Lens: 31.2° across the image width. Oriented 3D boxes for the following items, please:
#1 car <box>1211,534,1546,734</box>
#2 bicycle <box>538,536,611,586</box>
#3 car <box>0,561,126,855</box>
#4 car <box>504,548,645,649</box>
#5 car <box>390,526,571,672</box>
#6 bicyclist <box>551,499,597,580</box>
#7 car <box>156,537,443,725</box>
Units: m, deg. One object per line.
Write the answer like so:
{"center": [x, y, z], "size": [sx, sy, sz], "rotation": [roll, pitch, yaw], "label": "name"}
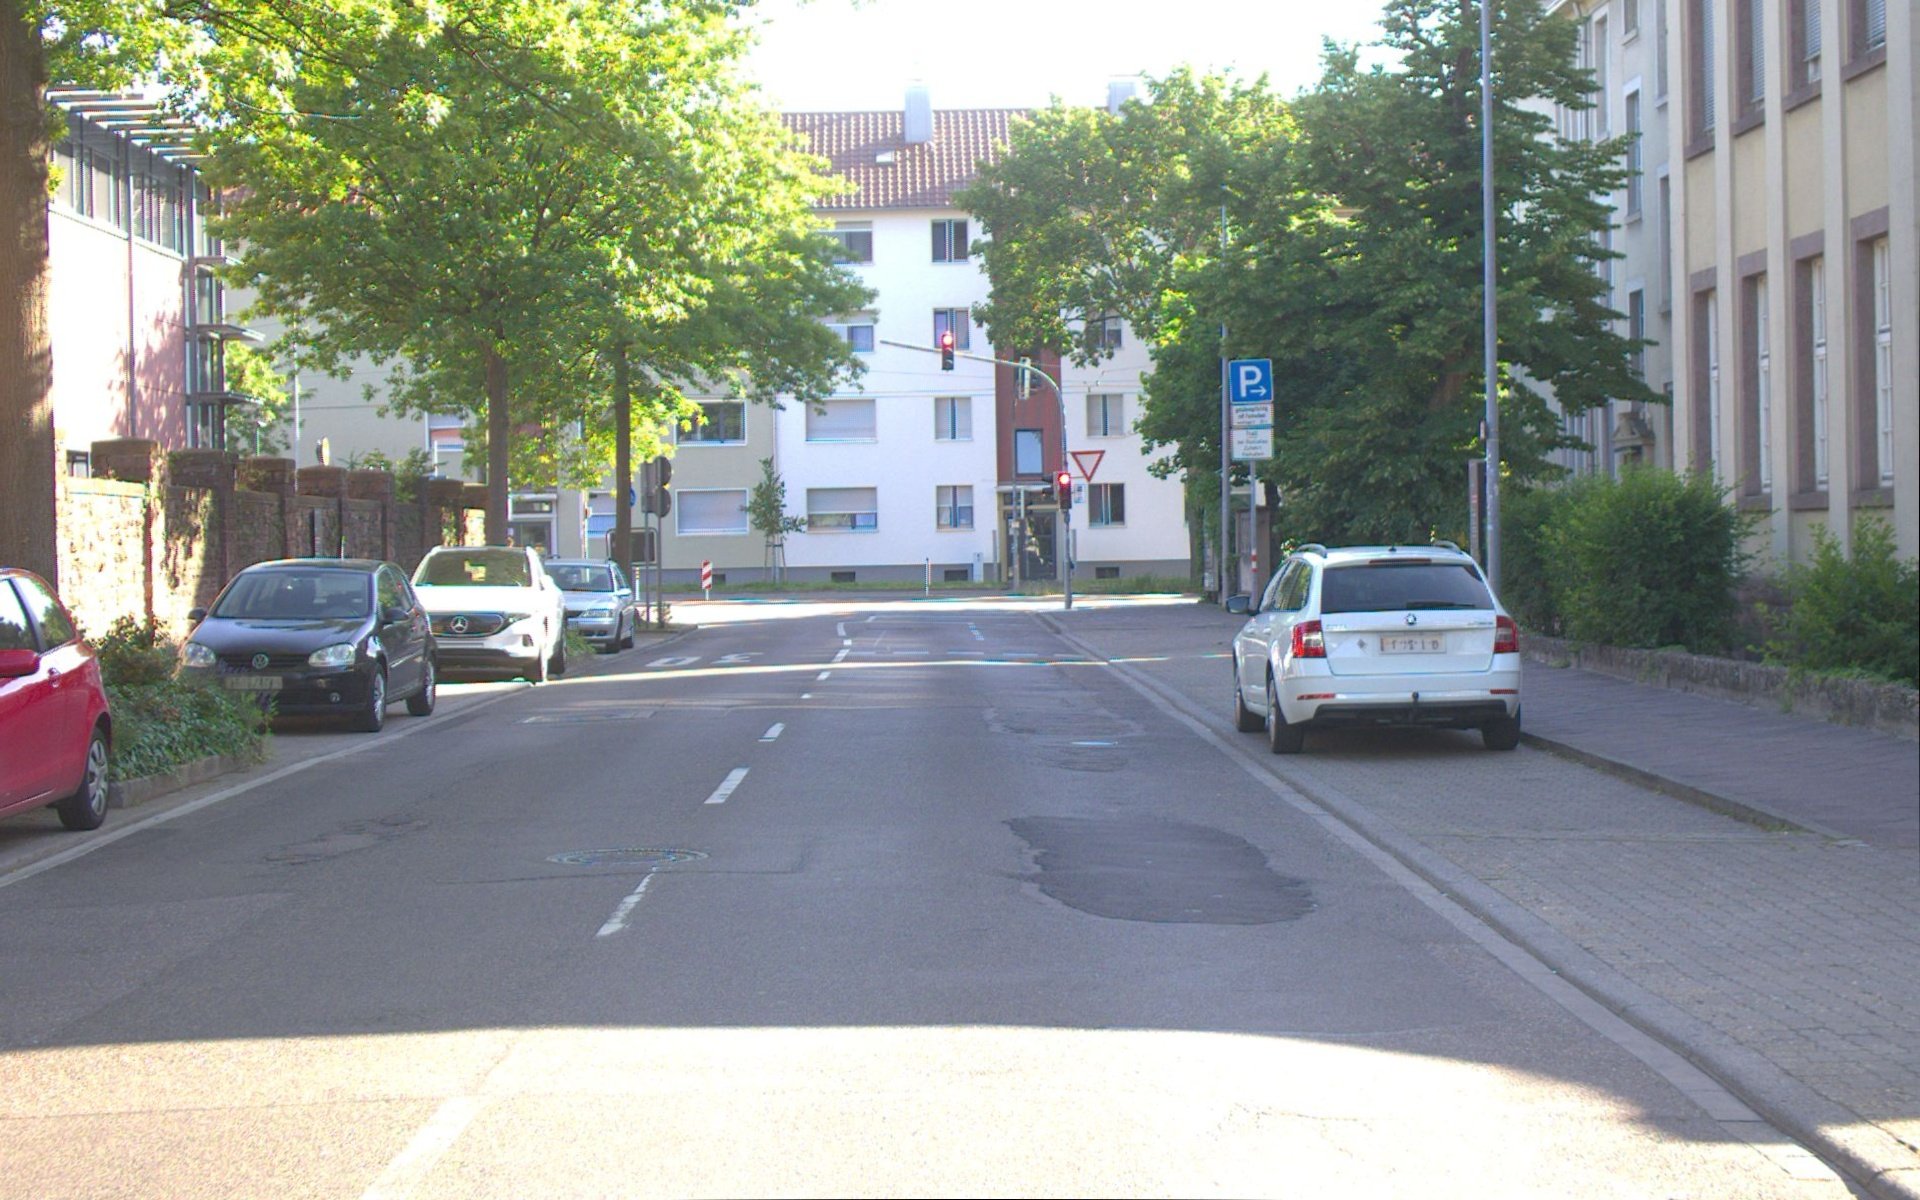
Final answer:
{"center": [3.001, 0.194, 25.525], "size": [1.832, 1.318, 4.496], "rotation": [-1, 1, -1], "label": "car"}
{"center": [-8.382, -0.846, 74.780], "size": [1.684, 1.076, 0.351], "rotation": [0, 1, -42], "label": "bicycle"}
{"center": [-5.628, 0.527, 17.981], "size": [1.609, 1.454, 3.708], "rotation": [1, 1, 0], "label": "car"}
{"center": [-5.980, -0.057, 53.752], "size": [1.726, 1.470, 4.478], "rotation": [1, 1, -1], "label": "car"}
{"center": [-5.777, -0.048, 41.844], "size": [1.720, 1.678, 4.351], "rotation": [0, 1, -2], "label": "car"}
{"center": [-8.390, -1.313, 74.778], "size": [0.787, 1.751, 0.612], "rotation": [-1, 1, -42], "label": "bicyclist"}
{"center": [-5.866, 0.224, 30.963], "size": [1.737, 1.587, 4.107], "rotation": [0, 1, 1], "label": "car"}
